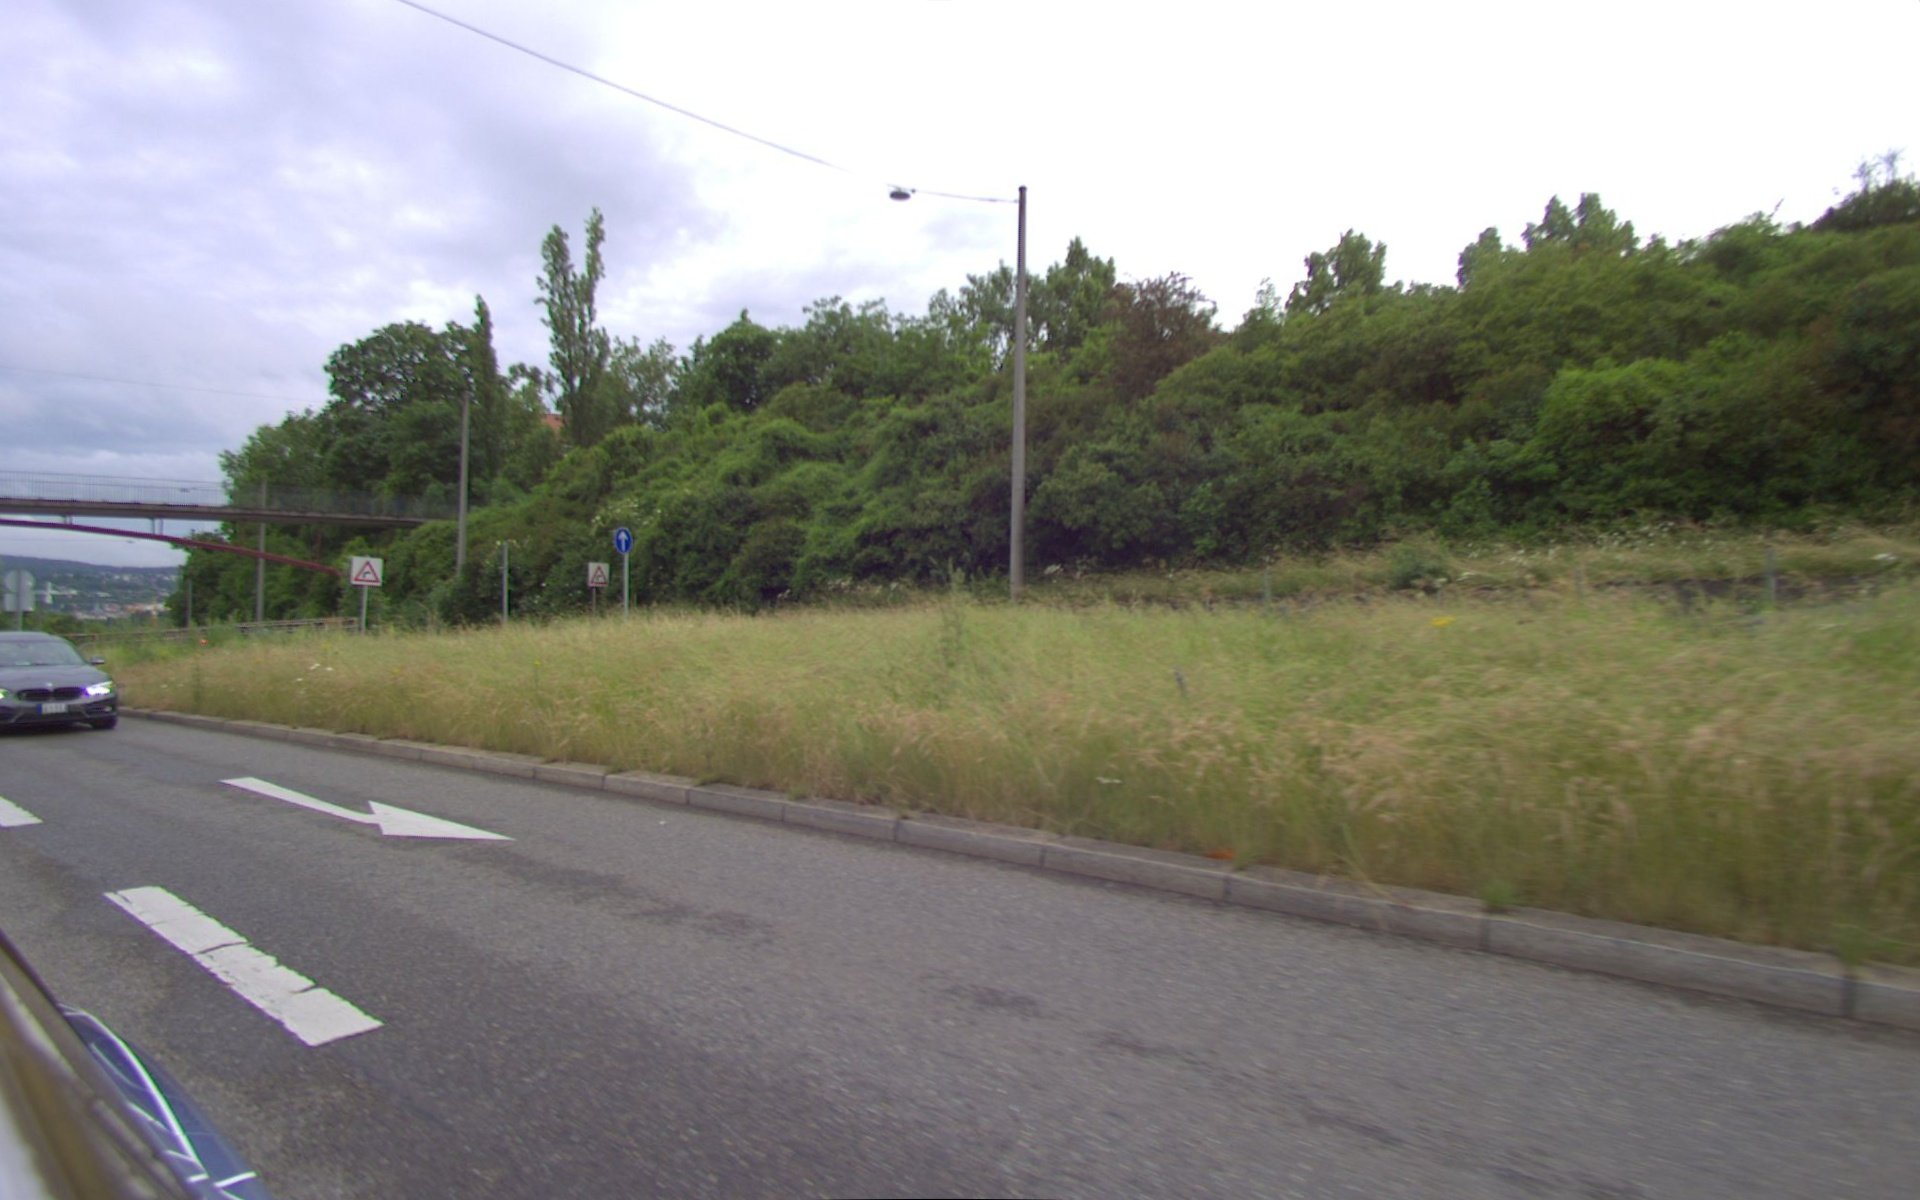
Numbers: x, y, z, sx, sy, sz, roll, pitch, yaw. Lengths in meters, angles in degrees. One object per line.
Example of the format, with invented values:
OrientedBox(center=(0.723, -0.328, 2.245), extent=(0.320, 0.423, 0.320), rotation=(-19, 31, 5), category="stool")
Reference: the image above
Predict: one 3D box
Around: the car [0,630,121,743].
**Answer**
OrientedBox(center=(-14.152, 1.224, 15.055), extent=(3.880, 1.482, 1.709), rotation=(-2, -2, 37), category="car")
